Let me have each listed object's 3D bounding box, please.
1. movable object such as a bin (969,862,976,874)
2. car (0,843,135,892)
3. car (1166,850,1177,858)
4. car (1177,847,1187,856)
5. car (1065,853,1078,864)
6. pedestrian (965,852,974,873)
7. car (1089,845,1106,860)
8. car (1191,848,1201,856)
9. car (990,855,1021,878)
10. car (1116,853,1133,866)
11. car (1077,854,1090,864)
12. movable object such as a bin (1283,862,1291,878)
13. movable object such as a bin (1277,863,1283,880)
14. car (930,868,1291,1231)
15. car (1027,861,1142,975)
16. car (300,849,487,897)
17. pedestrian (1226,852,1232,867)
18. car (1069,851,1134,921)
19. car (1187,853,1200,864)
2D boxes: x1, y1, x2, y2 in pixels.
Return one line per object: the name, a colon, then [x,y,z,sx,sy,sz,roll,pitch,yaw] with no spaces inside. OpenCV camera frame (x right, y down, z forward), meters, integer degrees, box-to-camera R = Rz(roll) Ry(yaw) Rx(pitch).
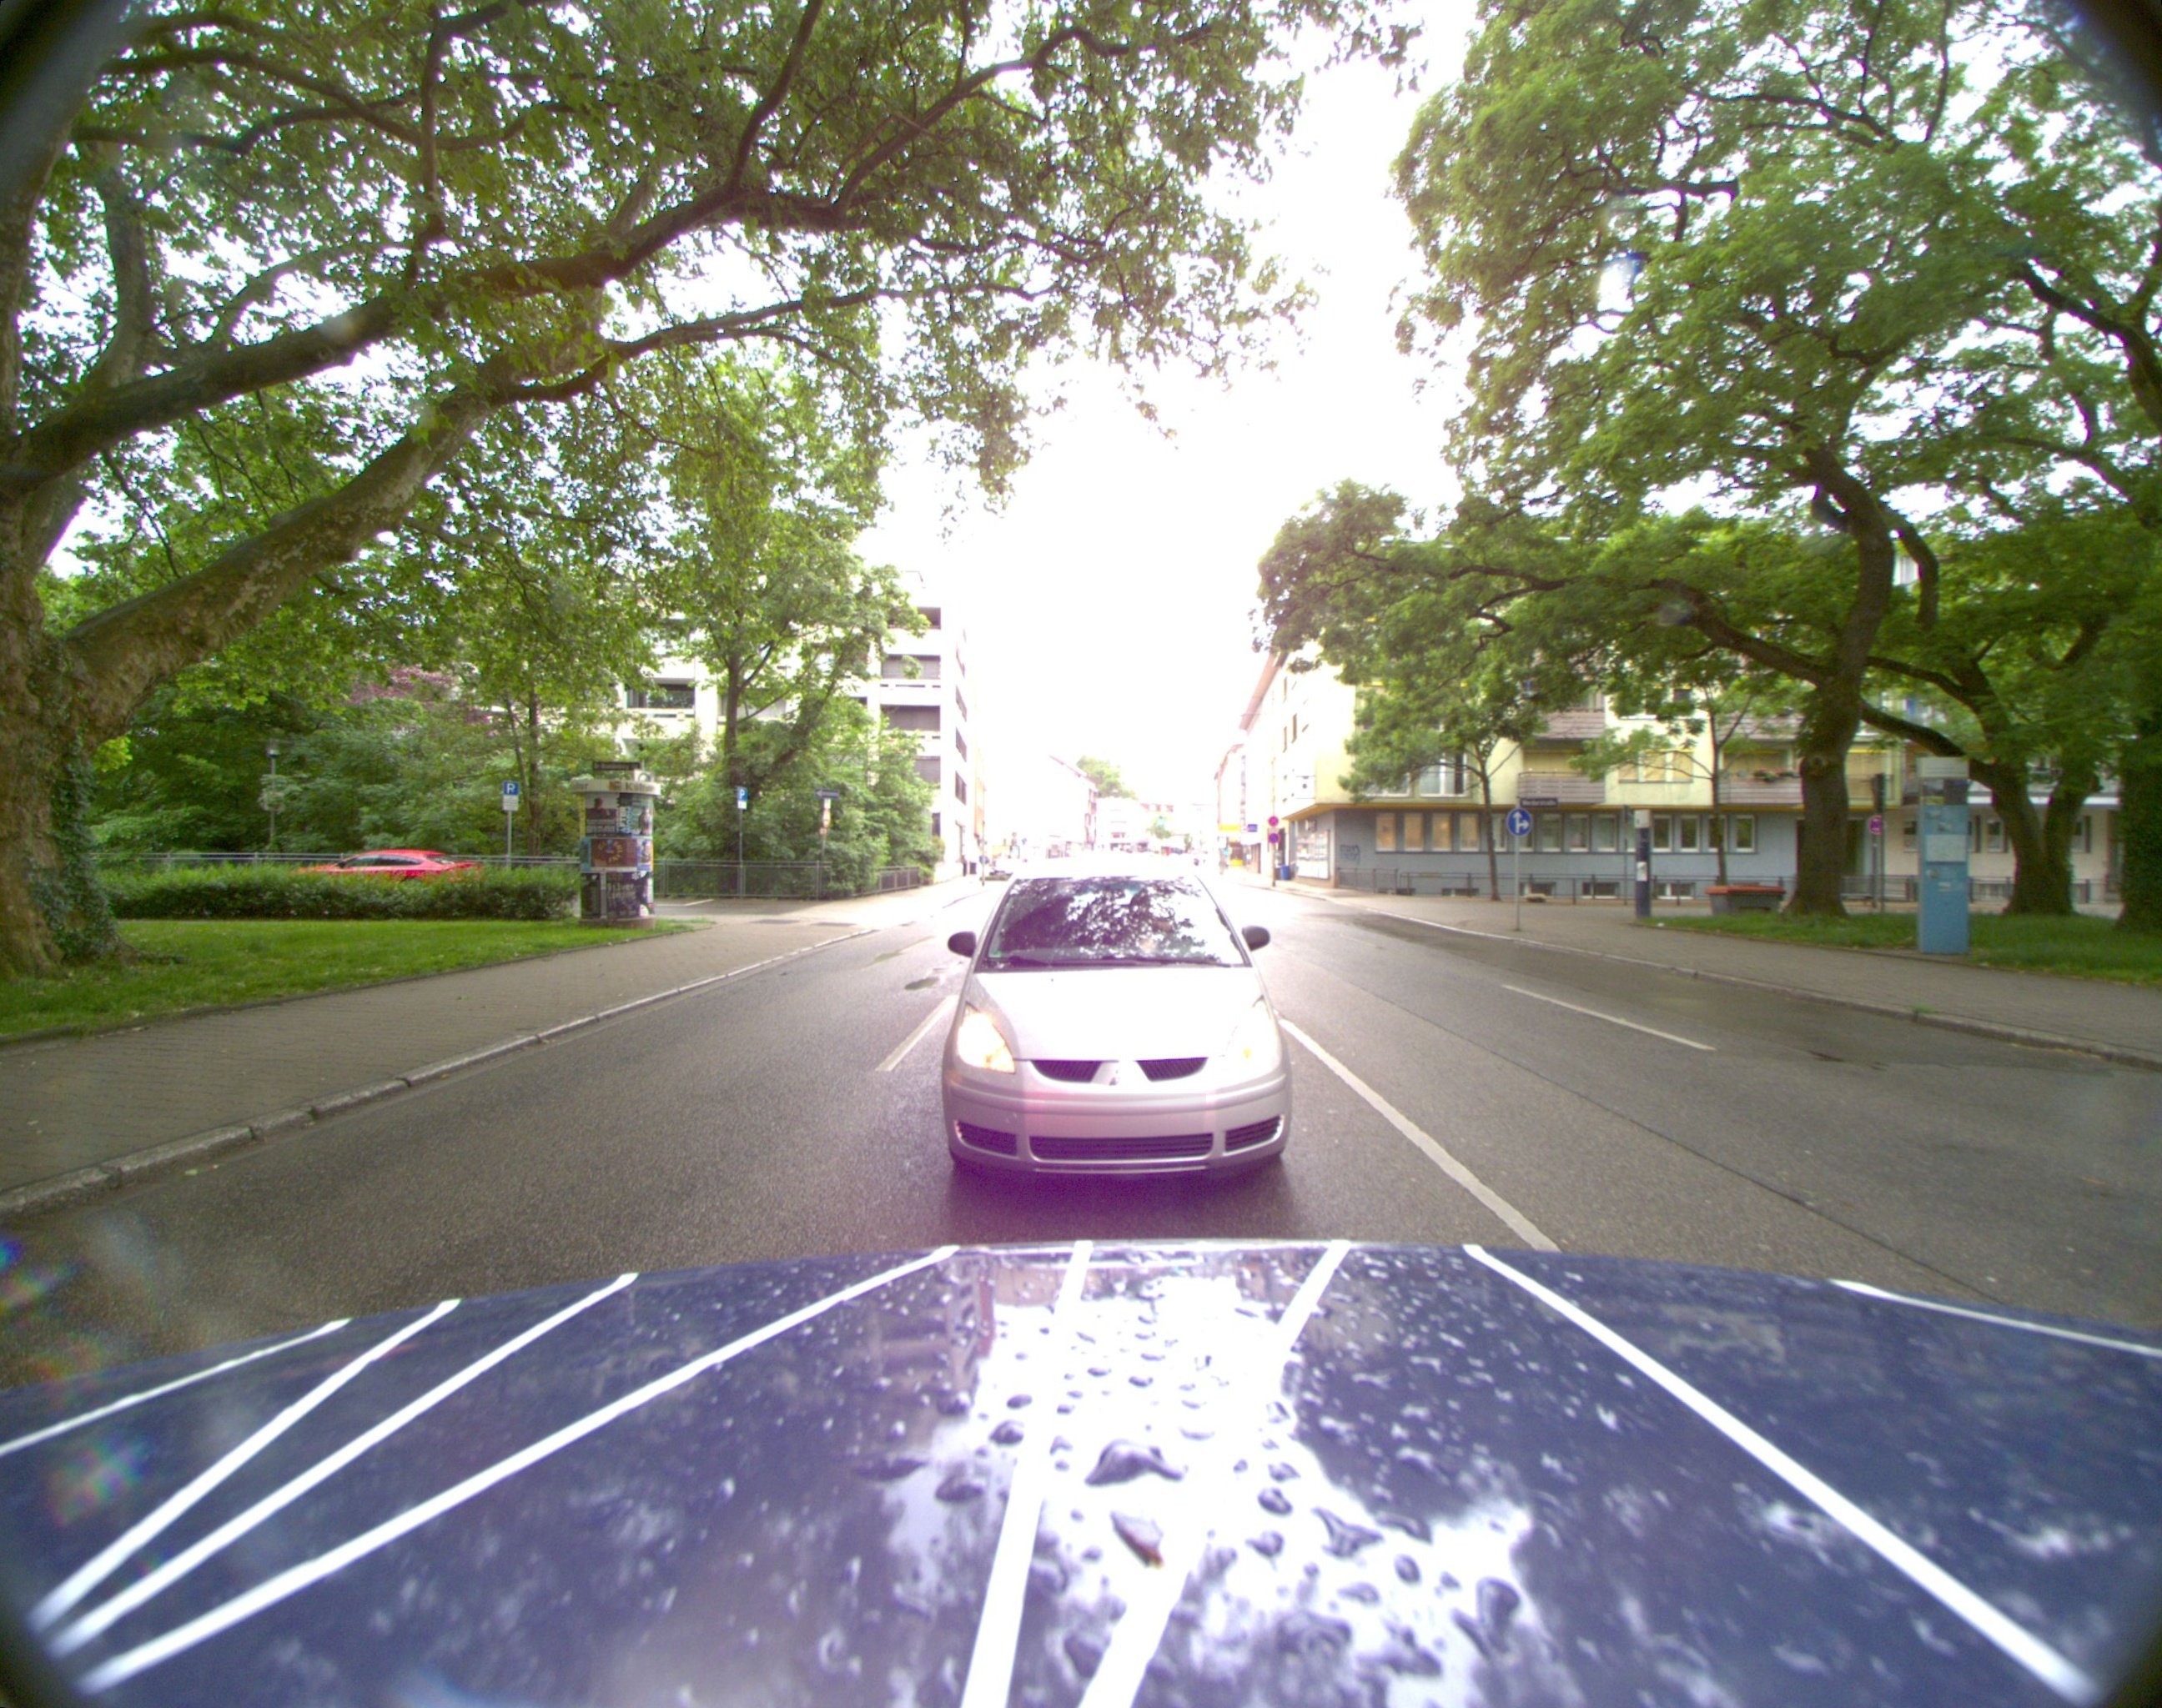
movable object such as a bin: [-8.984,1.167,62.936,0.556,1.035,0.292,1,1,0]
car: [-29.124,0.355,21.181,3.468,1.271,1.448,1,1,-5]
car: [19.212,-0.090,161.202,1.998,1.631,4.001,1,0,4]
car: [22.171,-0.505,167.408,1.998,1.841,4.001,1,0,4]
car: [-1.376,0.609,107.712,1.802,1.433,3.896,1,0,0]
pedestrian: [-7.986,0.617,54.515,0.480,1.521,0.481,-2,1,1]
car: [2.068,-0.148,95.722,1.935,1.817,4.000,1,0,0]
car: [25.210,-0.359,166.496,1.867,1.648,4.001,1,0,4]
car: [-5.305,0.862,53.510,1.681,1.424,3.681,3,0,1]
car: [4.822,0.599,85.024,1.701,1.433,3.897,1,0,1]
car: [0.385,0.667,112.787,1.802,1.433,3.897,1,0,1]
movable object such as a bin: [13.084,1.005,48.212,0.415,1.023,0.353,1,1,8]
movable object such as a bin: [12.701,1.115,48.520,0.338,1.023,0.353,1,1,8]
car: [0.158,0.906,5.003,1.576,1.514,3.241,-1,0,1]
car: [0.127,0.922,12.569,1.590,1.540,3.771,1,0,2]
car: [-19.424,0.518,21.587,3.790,1.271,1.576,1,1,-3]
pedestrian: [17.576,0.656,90.077,0.594,1.833,0.565,1,1,8]
car: [0.510,0.790,20.711,1.584,1.705,3.649,1,0,0]
car: [17.953,0.747,121.354,1.889,1.707,4.001,0,0,4]
